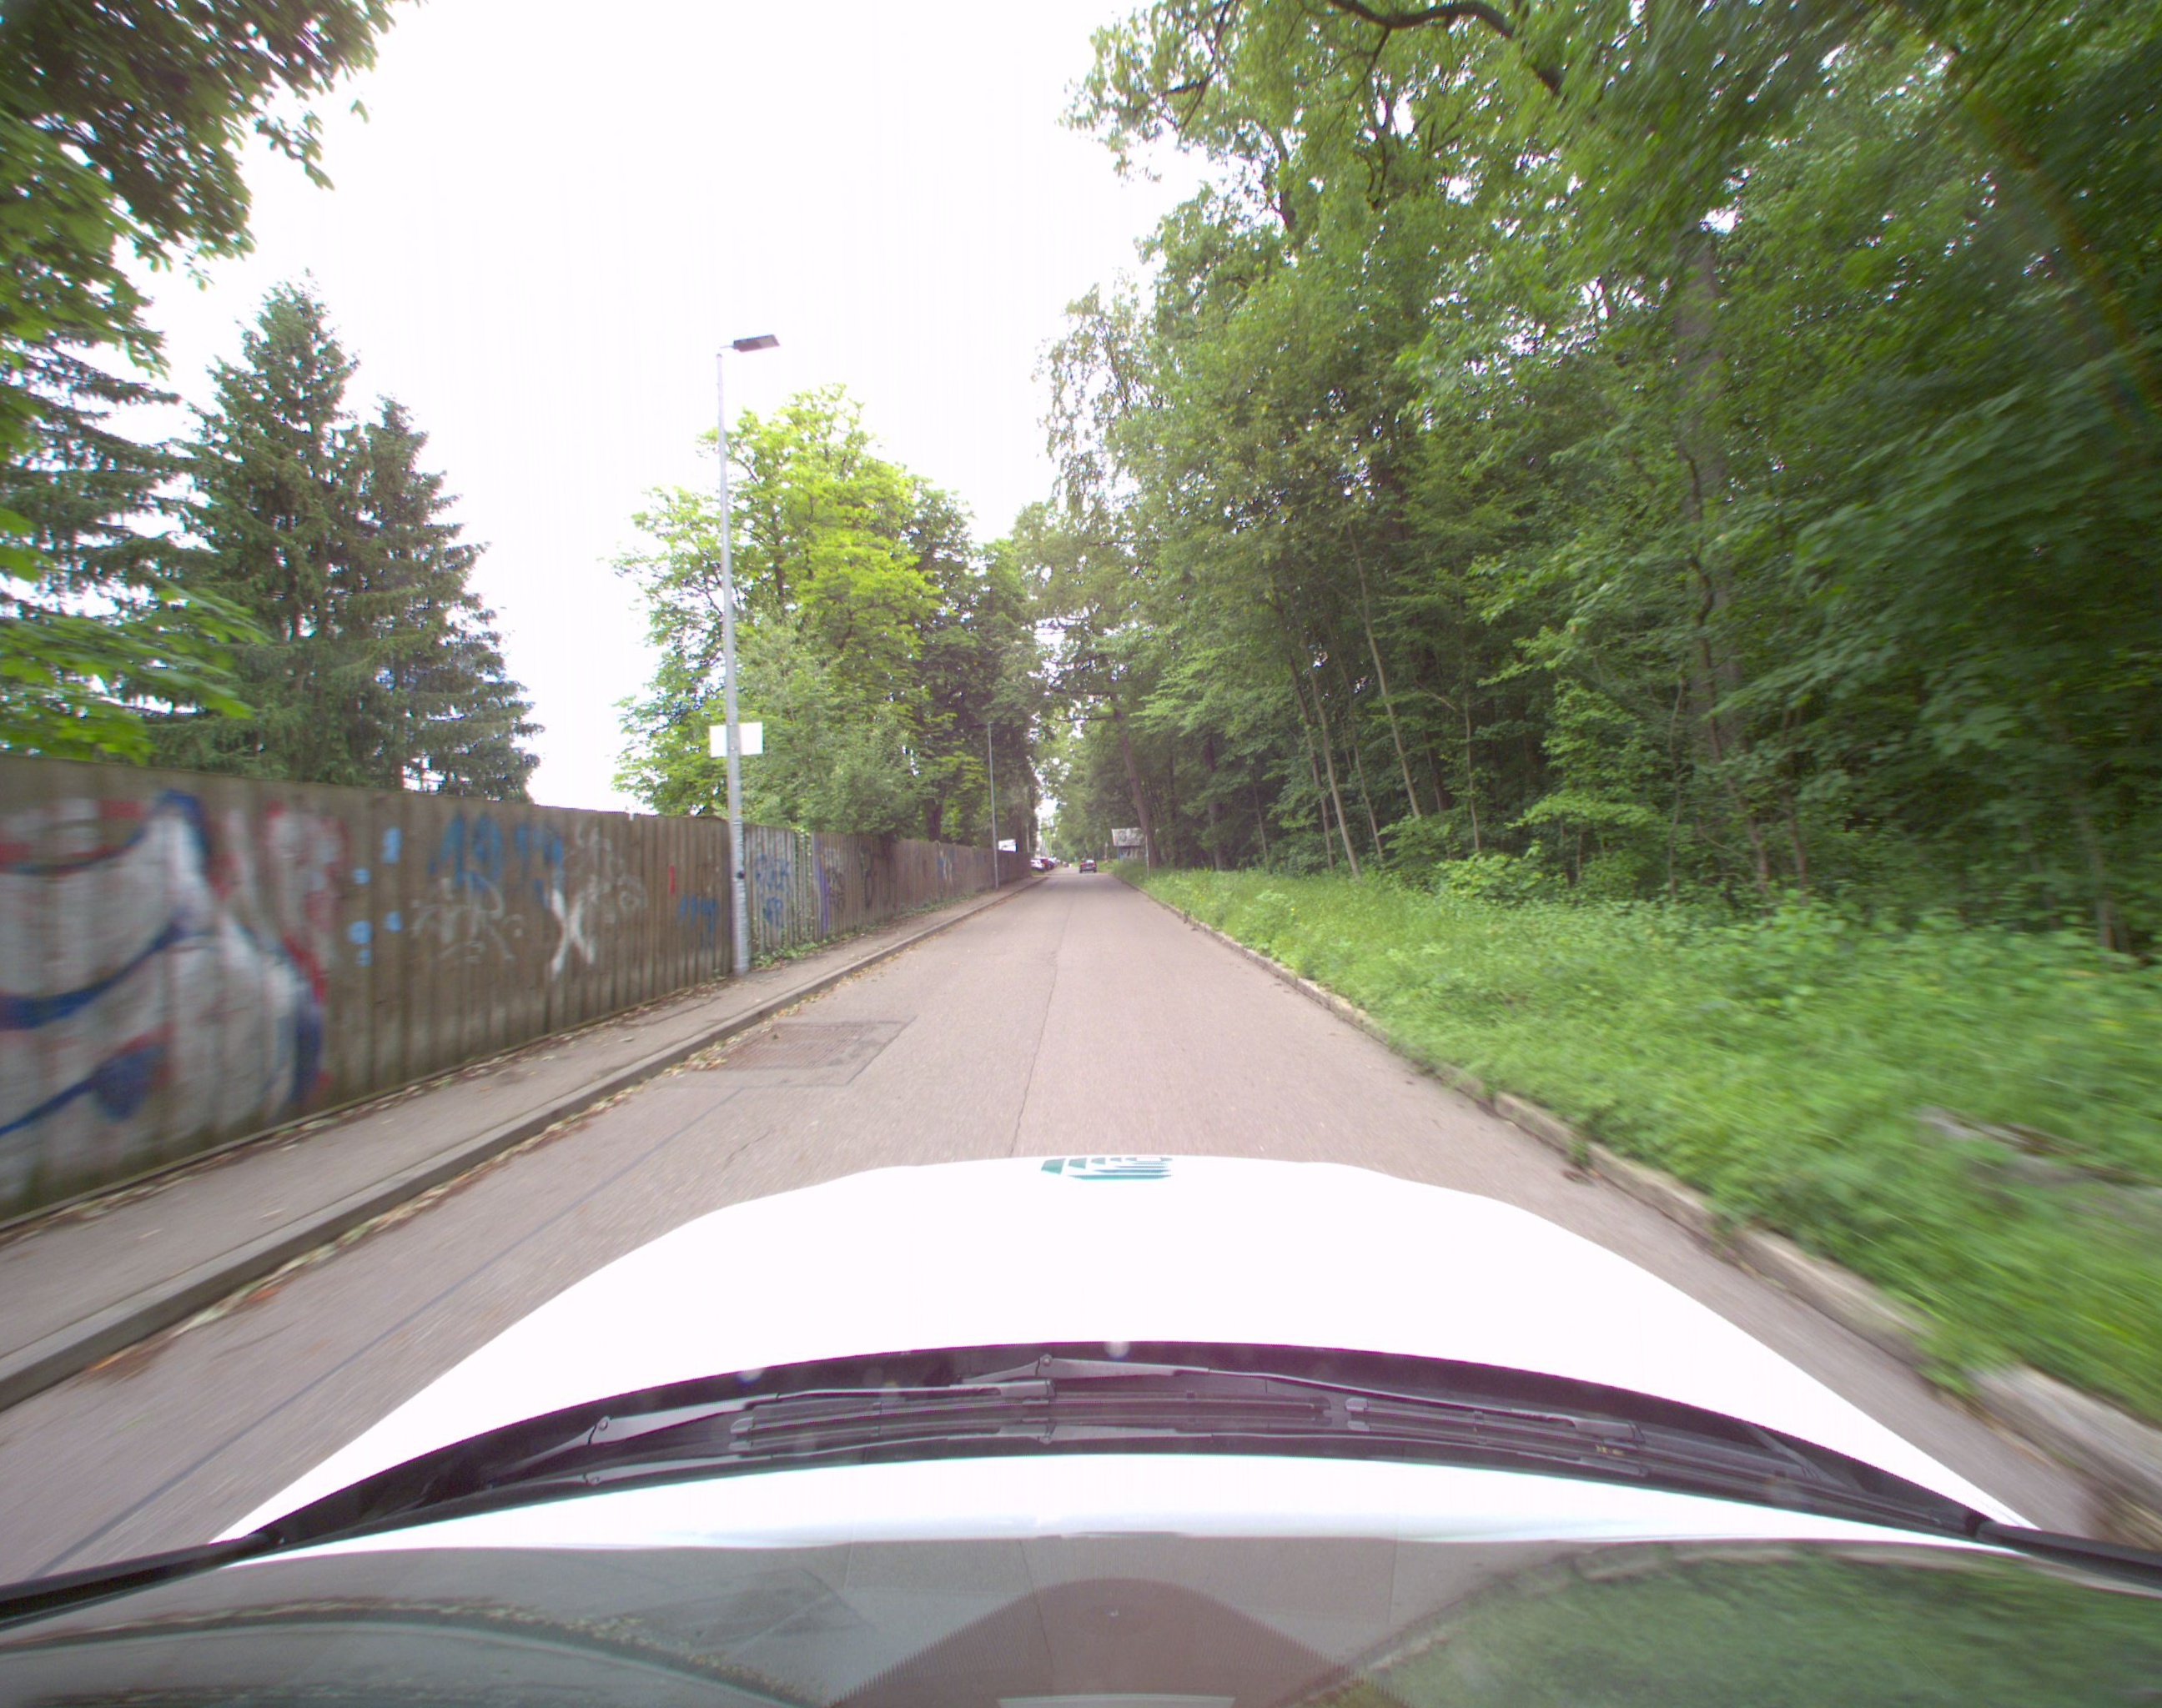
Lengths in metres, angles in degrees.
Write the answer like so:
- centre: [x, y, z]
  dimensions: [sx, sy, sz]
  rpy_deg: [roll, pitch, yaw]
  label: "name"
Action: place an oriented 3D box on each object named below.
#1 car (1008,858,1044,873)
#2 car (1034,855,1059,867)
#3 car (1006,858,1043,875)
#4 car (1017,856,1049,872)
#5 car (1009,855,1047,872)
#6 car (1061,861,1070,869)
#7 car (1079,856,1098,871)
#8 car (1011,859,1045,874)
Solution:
- centre: [-6.364, 1.318, 94.048]
  dimensions: [3.979, 1.574, 1.997]
  rpy_deg: [-3, 0, -4]
  label: "car"
- centre: [-5.797, 1.194, 137.378]
  dimensions: [3.975, 1.596, 1.764]
  rpy_deg: [-4, -1, -1]
  label: "car"
- centre: [-6.333, 1.384, 91.512]
  dimensions: [3.979, 1.574, 1.997]
  rpy_deg: [-3, 0, -4]
  label: "car"
- centre: [-6.014, 1.256, 102.214]
  dimensions: [3.979, 1.750, 1.997]
  rpy_deg: [-3, 0, -4]
  label: "car"
- centre: [-5.791, 0.999, 89.194]
  dimensions: [3.979, 1.574, 1.997]
  rpy_deg: [-4, 0, -4]
  label: "car"
- centre: [-4.243, 3.023, 222.871]
  dimensions: [1.991, 2.013, 3.992]
  rpy_deg: [-3, 0, -5]
  label: "car"
- centre: [0.804, 0.965, 83.367]
  dimensions: [1.901, 1.508, 4.001]
  rpy_deg: [0, -1, 1]
  label: "car"
- centre: [-6.342, 1.491, 97.134]
  dimensions: [3.979, 1.574, 1.997]
  rpy_deg: [-3, 0, -4]
  label: "car"
